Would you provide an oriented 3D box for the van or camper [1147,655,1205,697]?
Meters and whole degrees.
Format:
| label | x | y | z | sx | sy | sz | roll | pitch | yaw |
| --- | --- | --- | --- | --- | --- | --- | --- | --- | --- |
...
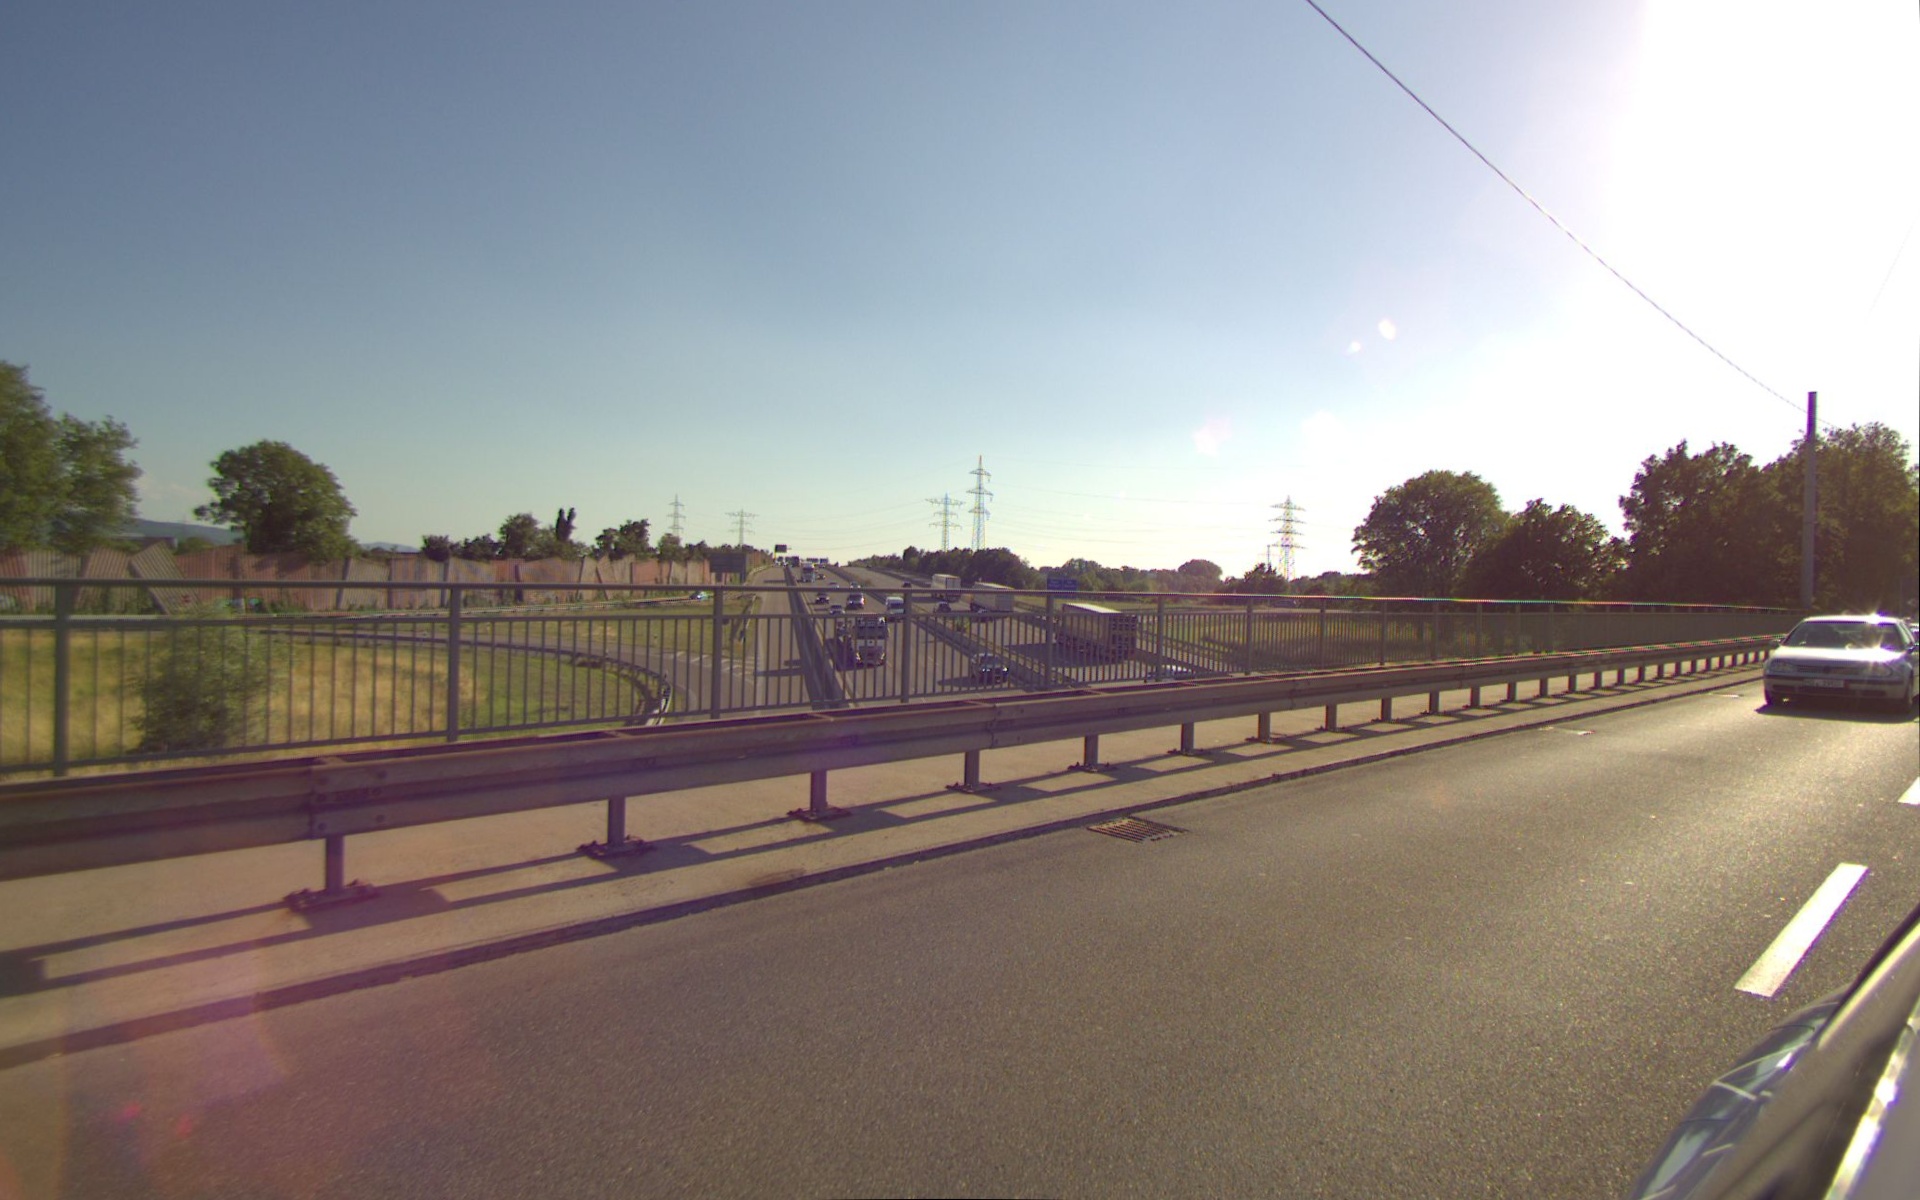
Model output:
| label | x | y | z | sx | sy | sz | roll | pitch | yaw |
| --- | --- | --- | --- | --- | --- | --- | --- | --- | --- |
| van or camper | 13.761 | 4.809 | 64.713 | 1.953 | 1.989 | 4.825 | 0 | 3 | -9 |

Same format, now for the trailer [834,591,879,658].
| label | x | y | z | sx | sy | sz | roll | pitch | yaw |
| --- | --- | --- | --- | --- | --- | --- | --- | --- | --- |
| trailer | -9.365 | 1.890 | 89.610 | 2.676 | 4.643 | 17.015 | 0 | 3 | -10 |

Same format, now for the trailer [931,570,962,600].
| label | x | y | z | sx | sy | sz | roll | pitch | yaw |
| --- | --- | --- | --- | --- | --- | --- | --- | --- | --- |
| trailer | -2.330 | -2.581 | 168.214 | 2.992 | 4.514 | 13.145 | -1 | 3 | -10 |

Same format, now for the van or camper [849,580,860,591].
| label | x | y | z | sx | sy | sz | roll | pitch | yaw |
| --- | --- | --- | --- | --- | --- | --- | --- | --- | --- |
| van or camper | -19.600 | -2.677 | 188.252 | 1.716 | 1.790 | 3.828 | 0 | 3 | -12 |

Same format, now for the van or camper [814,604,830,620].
| label | x | y | z | sx | sy | sz | roll | pitch | yaw |
| --- | --- | --- | --- | --- | --- | --- | --- | --- | --- |
| van or camper | -17.110 | 1.490 | 125.461 | 1.820 | 1.790 | 3.972 | 0 | 3 | -9 |

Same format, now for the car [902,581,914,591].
| label | x | y | z | sx | sy | sz | roll | pitch | yaw |
| --- | --- | --- | --- | --- | --- | --- | --- | --- | --- |
| car | -10.194 | -2.768 | 197.484 | 1.666 | 1.533 | 3.971 | 0 | 5 | -13 |

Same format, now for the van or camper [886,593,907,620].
| label | x | y | z | sx | sy | sz | roll | pitch | yaw |
| --- | --- | --- | --- | --- | --- | --- | --- | --- | --- |
| van or camper | -7.479 | 0.688 | 118.823 | 1.954 | 2.856 | 4.828 | 0 | 3 | -9 |

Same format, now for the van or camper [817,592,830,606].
| label | x | y | z | sx | sy | sz | roll | pitch | yaw |
| --- | --- | --- | --- | --- | --- | --- | --- | --- | --- |
| van or camper | -20.053 | -0.123 | 148.766 | 1.716 | 1.790 | 3.827 | 0 | 3 | -9 |

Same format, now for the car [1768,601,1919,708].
| label | x | y | z | sx | sy | sz | roll | pitch | yaw |
| --- | --- | --- | --- | --- | --- | --- | --- | --- | --- |
| car | 14.358 | 0.754 | 16.077 | 4.063 | 1.435 | 1.692 | -1 | 1 | -41 |

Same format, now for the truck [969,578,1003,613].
| label | x | y | z | sx | sy | sz | roll | pitch | yaw |
| --- | --- | --- | --- | --- | --- | --- | --- | --- | --- |
| truck | 3.596 | -0.681 | 141.718 | 3.210 | 4.330 | 6.393 | 3 | 2 | -10 |

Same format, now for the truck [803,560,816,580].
| label | x | y | z | sx | sy | sz | roll | pitch | yaw |
| --- | --- | --- | --- | --- | --- | --- | --- | --- | --- |
| truck | -33.298 | -6.667 | 223.766 | 2.730 | 4.127 | 7.546 | 0 | 4 | -9 |

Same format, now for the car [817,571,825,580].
| label | x | y | z | sx | sy | sz | roll | pitch | yaw |
| --- | --- | --- | --- | --- | --- | --- | --- | --- | --- |
| car | -32.846 | -5.775 | 239.197 | 1.741 | 1.885 | 3.831 | 0 | 3 | -10 |

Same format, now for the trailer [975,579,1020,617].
| label | x | y | z | sx | sy | sz | roll | pitch | yaw |
| --- | --- | --- | --- | --- | --- | --- | --- | --- | --- |
| trailer | 4.874 | -0.303 | 134.931 | 3.239 | 4.326 | 11.579 | 3 | 2 | -11 |

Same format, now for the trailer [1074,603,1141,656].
| label | x | y | z | sx | sy | sz | roll | pitch | yaw |
| --- | --- | --- | --- | --- | --- | --- | --- | --- | --- |
| trailer | 12.748 | 2.454 | 88.475 | 2.992 | 3.902 | 9.394 | -1 | 3 | -10 |

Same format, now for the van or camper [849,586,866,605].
| label | x | y | z | sx | sy | sz | roll | pitch | yaw |
| --- | --- | --- | --- | --- | --- | --- | --- | --- | --- |
| van or camper | -14.033 | -0.622 | 138.545 | 2.058 | 2.357 | 4.979 | 0 | 3 | -9 |

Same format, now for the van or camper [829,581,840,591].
| label | x | y | z | sx | sy | sz | roll | pitch | yaw |
| --- | --- | --- | --- | --- | --- | --- | --- | --- | --- |
| van or camper | -23.205 | -2.613 | 187.376 | 1.716 | 1.790 | 3.827 | 0 | 3 | -11 |

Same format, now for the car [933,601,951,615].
| label | x | y | z | sx | sy | sz | roll | pitch | yaw |
| --- | --- | --- | --- | --- | --- | --- | --- | --- | --- |
| car | -2.385 | 1.058 | 131.533 | 1.849 | 1.533 | 4.074 | 0 | 3 | -8 |

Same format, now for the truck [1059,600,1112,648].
| label | x | y | z | sx | sy | sz | roll | pitch | yaw |
| --- | --- | --- | --- | --- | --- | --- | --- | --- | --- |
| truck | 11.648 | 2.134 | 94.588 | 2.992 | 3.929 | 6.621 | -1 | 3 | -10 |

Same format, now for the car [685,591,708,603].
| label | x | y | z | sx | sy | sz | roll | pitch | yaw |
| --- | --- | --- | --- | --- | --- | --- | --- | --- | --- |
| car | -38.500 | -0.465 | 147.895 | 1.734 | 1.617 | 3.675 | 0 | 1 | 15 |

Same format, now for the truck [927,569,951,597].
| label | x | y | z | sx | sy | sz | roll | pitch | yaw |
| --- | --- | --- | --- | --- | --- | --- | --- | --- | --- |
| truck | -3.683 | -2.967 | 175.543 | 2.989 | 4.514 | 6.621 | -1 | 3 | -11 |

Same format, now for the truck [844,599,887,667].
| label | x | y | z | sx | sy | sz | roll | pitch | yaw |
| --- | --- | --- | --- | --- | --- | --- | --- | --- | --- |
| truck | -7.404 | 2.446 | 78.485 | 2.677 | 4.668 | 7.247 | 0 | 3 | -10 |

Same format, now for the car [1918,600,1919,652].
| label | x | y | z | sx | sy | sz | roll | pitch | yaw |
| --- | --- | --- | --- | --- | --- | --- | --- | --- | --- |
| car | 30.520 | 0.772 | 30.747 | 3.777 | 1.540 | 1.708 | -1 | 1 | -41 |

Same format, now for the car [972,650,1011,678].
| label | x | y | z | sx | sy | sz | roll | pitch | yaw |
| --- | --- | --- | --- | --- | --- | --- | --- | --- | --- |
| car | 2.097 | 4.315 | 68.539 | 1.788 | 1.431 | 4.188 | 0 | 3 | -10 |
